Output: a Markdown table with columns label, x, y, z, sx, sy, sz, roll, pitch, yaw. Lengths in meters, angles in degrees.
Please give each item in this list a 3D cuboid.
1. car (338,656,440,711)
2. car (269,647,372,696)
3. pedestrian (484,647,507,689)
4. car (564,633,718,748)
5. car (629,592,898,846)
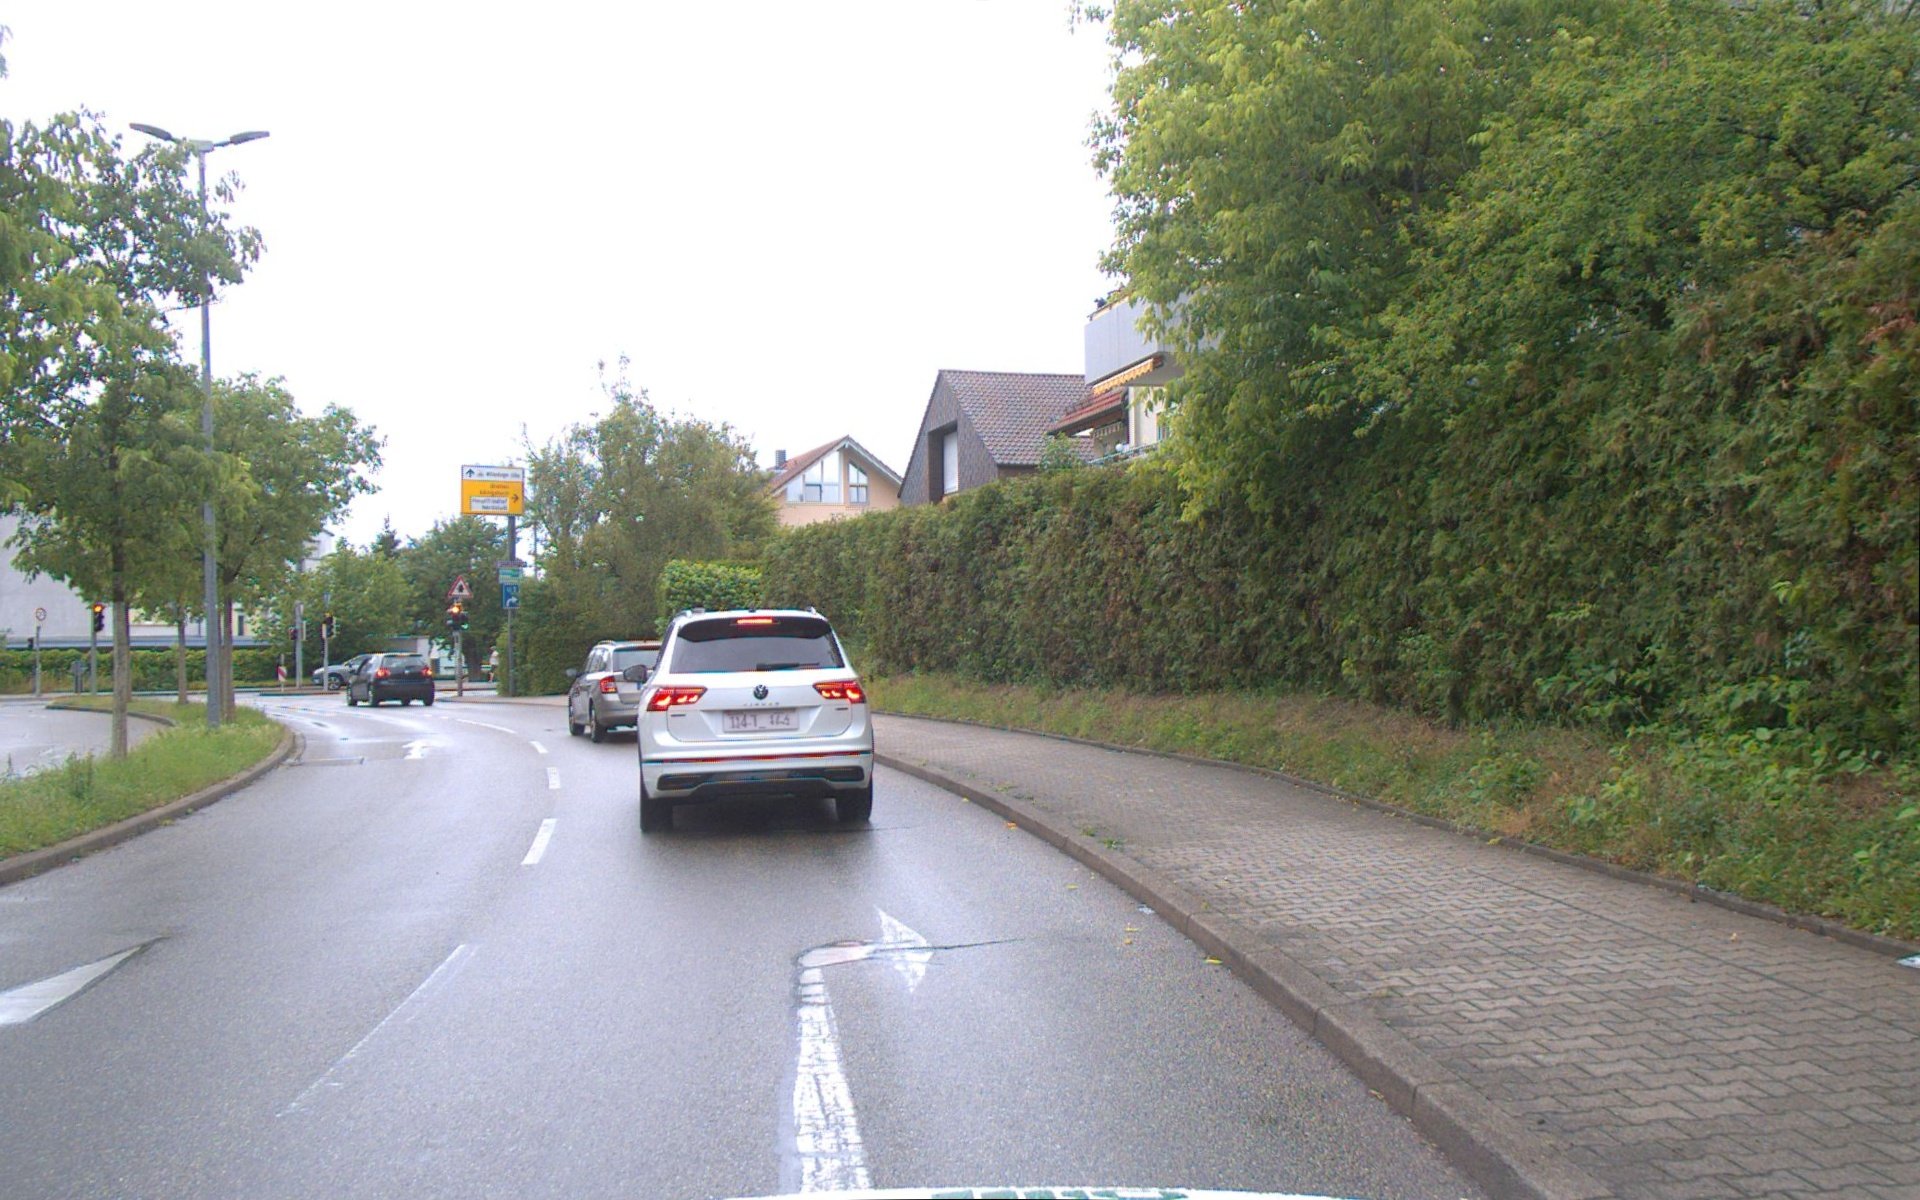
| label | x | y | z | sx | sy | sz | roll | pitch | yaw |
| --- | --- | --- | --- | --- | --- | --- | --- | --- | --- |
| car | -16.315 | 2.351 | 47.144 | 1.834 | 1.454 | 3.953 | 0 | -2 | -33 |
| car | -28.632 | 3.197 | 74.167 | 3.916 | 2.049 | 1.975 | 2 | 0 | -11 |
| pedestrian | -22.702 | 3.308 | 80.824 | 0.794 | 2.049 | 0.837 | 0 | -1 | -40 |
| car | -5.033 | 1.354 | 25.728 | 1.739 | 1.536 | 3.977 | 2 | 0 | -20 |
| car | -1.706 | 0.889 | 13.932 | 1.885 | 1.753 | 4.256 | -1 | -1 | -9 |
